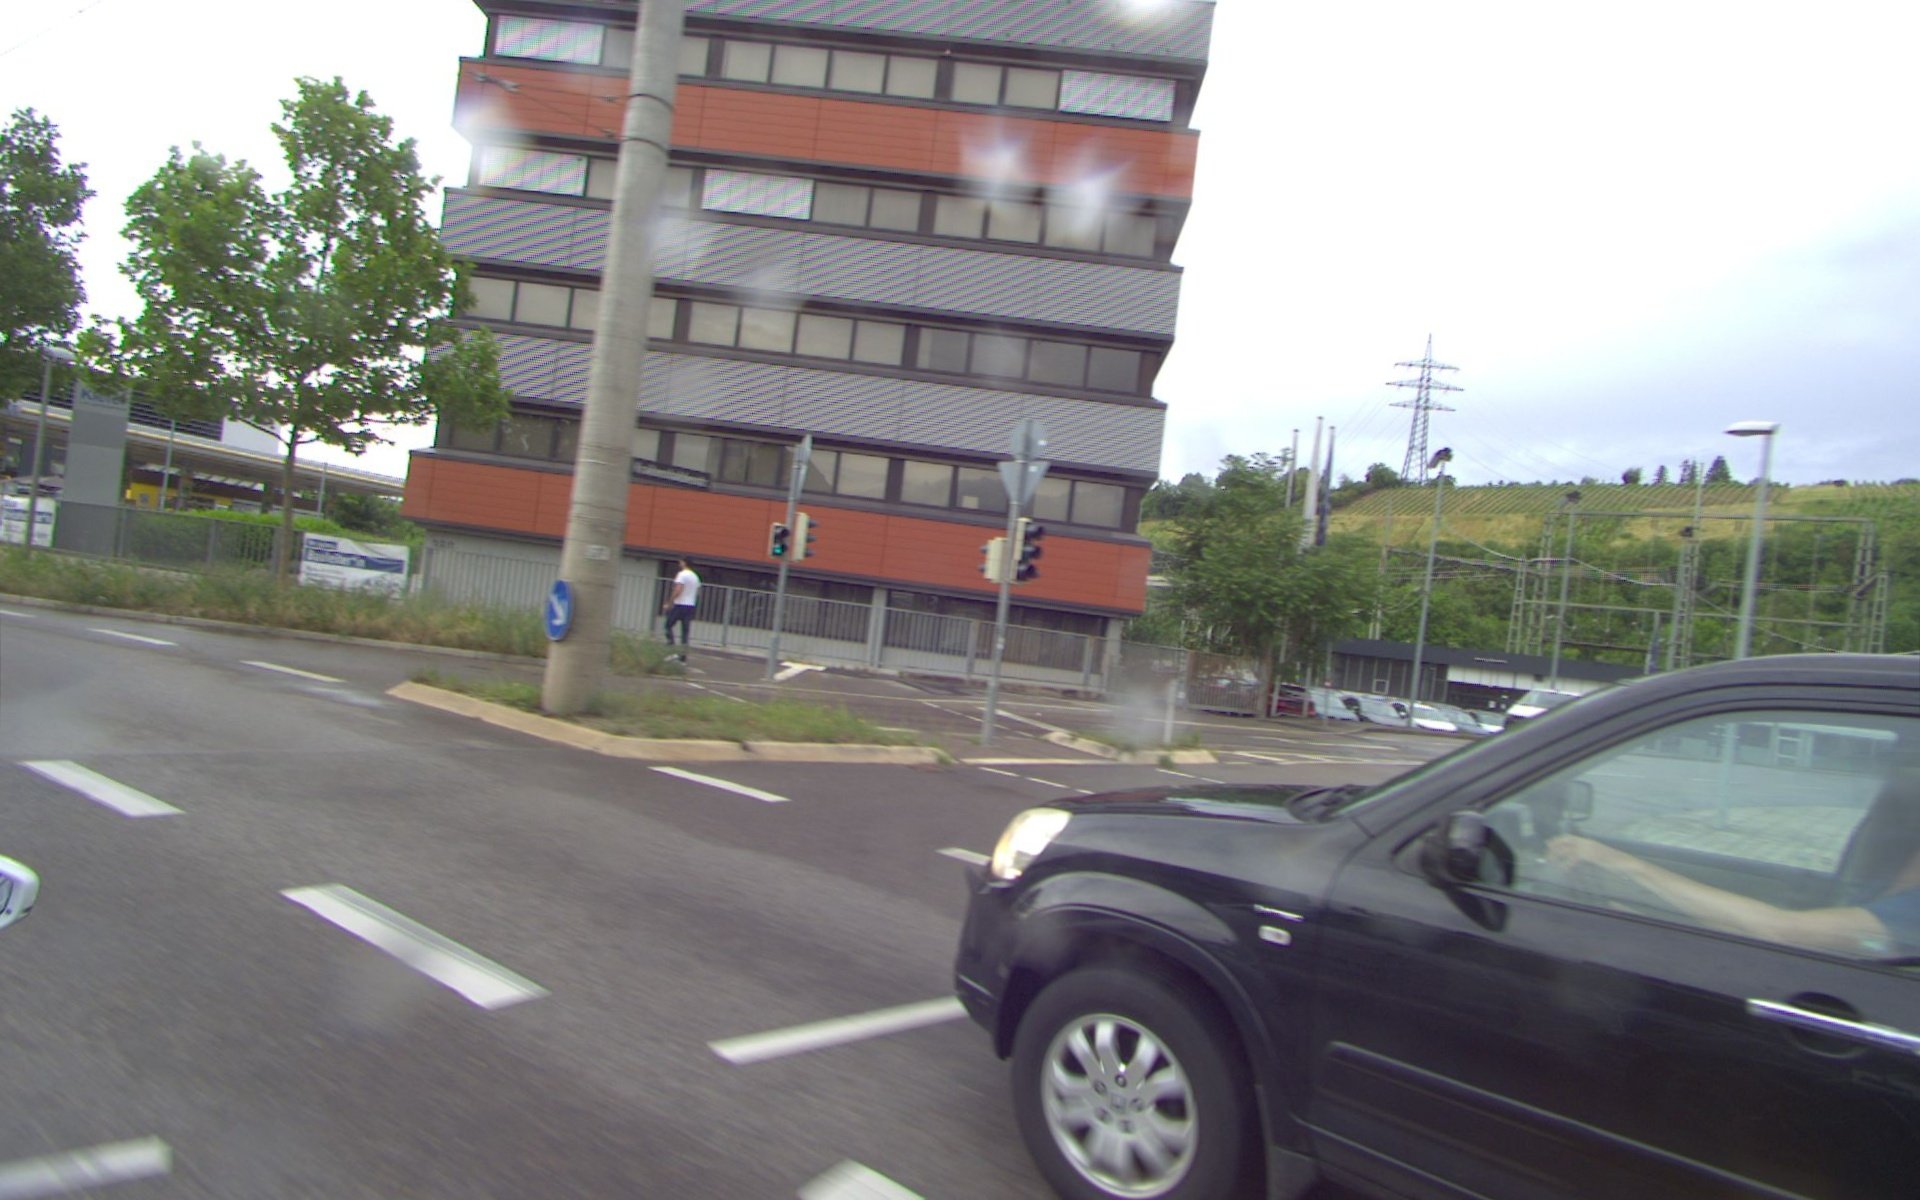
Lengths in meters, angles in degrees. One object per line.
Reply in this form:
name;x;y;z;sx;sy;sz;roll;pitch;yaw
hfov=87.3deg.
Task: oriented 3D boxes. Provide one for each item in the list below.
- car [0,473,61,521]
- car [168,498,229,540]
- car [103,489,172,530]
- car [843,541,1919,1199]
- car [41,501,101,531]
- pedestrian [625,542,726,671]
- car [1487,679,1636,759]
car;-48.717;-5.403;52.152;3.934;2.057;1.996;7;0;32
car;-45.469;-4.836;60.070;3.085;2.035;1.680;7;-3;32
car;-52.749;-5.793;64.516;3.708;2.035;1.877;7;-3;28
car;1.967;0.967;2.418;4.259;1.647;1.768;7;-3;38
car;-63.680;-6.047;72.056;3.933;1.615;1.997;7;-1;31
pedestrian;-5.251;0.120;18.548;1.139;2.152;1.207;7;2;-42
car;19.529;3.868;32.593;5.035;1.937;1.984;10;-3;-32
